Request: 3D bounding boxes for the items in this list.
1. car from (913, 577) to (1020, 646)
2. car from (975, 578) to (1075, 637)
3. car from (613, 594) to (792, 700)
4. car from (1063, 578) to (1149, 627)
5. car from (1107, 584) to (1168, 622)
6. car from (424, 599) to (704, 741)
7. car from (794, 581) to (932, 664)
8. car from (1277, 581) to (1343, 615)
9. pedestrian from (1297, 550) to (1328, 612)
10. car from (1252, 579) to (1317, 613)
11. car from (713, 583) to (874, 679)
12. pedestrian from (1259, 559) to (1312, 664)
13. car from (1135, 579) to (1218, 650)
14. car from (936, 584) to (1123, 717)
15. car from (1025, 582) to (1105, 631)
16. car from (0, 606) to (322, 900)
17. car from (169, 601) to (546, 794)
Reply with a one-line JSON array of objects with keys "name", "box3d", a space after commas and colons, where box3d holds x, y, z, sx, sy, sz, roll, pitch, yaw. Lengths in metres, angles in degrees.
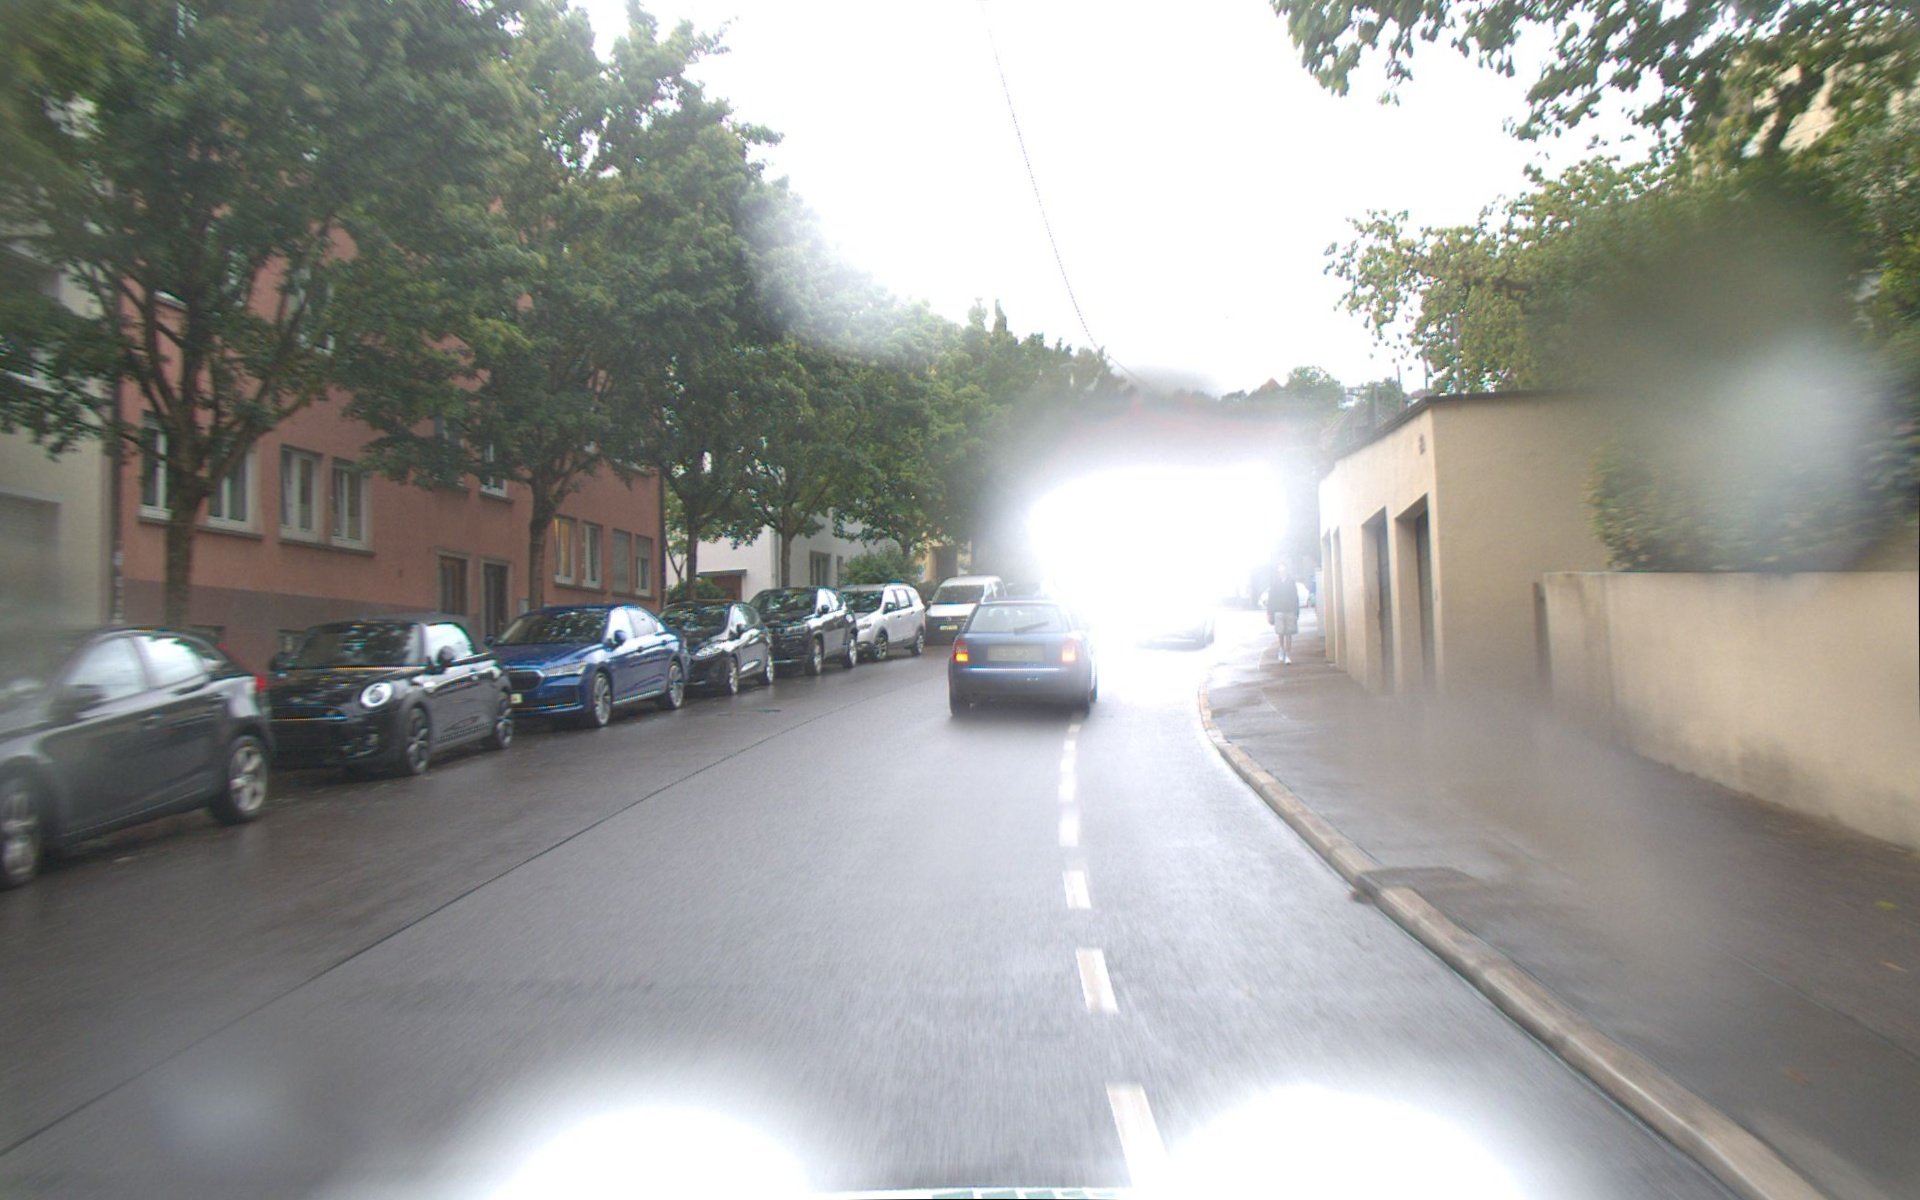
[{"name": "car", "box3d": [0.252, 0.290, 46.730, 1.815, 1.807, 4.485, -2, 0, 16]}, {"name": "car", "box3d": [2.089, 0.210, 51.823, 1.815, 1.697, 4.589, -2, 0, 19]}, {"name": "car", "box3d": [-4.097, 0.705, 27.042, 1.749, 1.519, 4.365, -2, 0, 7]}, {"name": "car", "box3d": [5.542, 0.068, 62.347, 1.817, 1.720, 4.553, -2, 0, 24]}, {"name": "car", "box3d": [7.270, 0.088, 67.309, 1.580, 1.421, 4.325, -2, 0, 18]}, {"name": "car", "box3d": [-4.889, 0.801, 21.226, 1.749, 1.519, 4.866, -2, 0, 9]}, {"name": "car", "box3d": [-2.137, 0.469, 37.806, 1.709, 1.720, 4.603, -2, 0, 16]}, {"name": "car", "box3d": [19.125, -0.110, 90.250, 1.755, 1.675, 4.327, -7, -4, 37]}, {"name": "pedestrian", "box3d": [10.664, -0.570, 50.058, 0.759, 1.789, 1.012, -3, -1, 16]}, {"name": "car", "box3d": [16.922, -0.197, 86.091, 1.753, 1.540, 4.333, -6, -4, 33]}, {"name": "car", "box3d": [-3.126, 0.547, 31.986, 1.749, 1.670, 4.484, -2, 0, 12]}, {"name": "pedestrian", "box3d": [5.986, 0.206, 30.445, 0.880, 1.883, 0.804, -2, 0, 11]}, {"name": "car", "box3d": [5.337, 0.308, 40.653, 1.908, 1.588, 4.267, 0, 2, 8]}, {"name": "car", "box3d": [1.009, 0.572, 21.232, 1.814, 1.438, 4.365, -3, 0, 9]}, {"name": "car", "box3d": [3.648, 0.187, 56.845, 1.814, 1.524, 4.744, -1, 1, 15]}, {"name": "car", "box3d": [-5.848, 0.829, 10.195, 1.749, 1.519, 4.647, -1, 0, 4]}, {"name": "car", "box3d": [-5.555, 0.815, 15.908, 1.749, 1.519, 4.364, -2, 0, 4]}]
